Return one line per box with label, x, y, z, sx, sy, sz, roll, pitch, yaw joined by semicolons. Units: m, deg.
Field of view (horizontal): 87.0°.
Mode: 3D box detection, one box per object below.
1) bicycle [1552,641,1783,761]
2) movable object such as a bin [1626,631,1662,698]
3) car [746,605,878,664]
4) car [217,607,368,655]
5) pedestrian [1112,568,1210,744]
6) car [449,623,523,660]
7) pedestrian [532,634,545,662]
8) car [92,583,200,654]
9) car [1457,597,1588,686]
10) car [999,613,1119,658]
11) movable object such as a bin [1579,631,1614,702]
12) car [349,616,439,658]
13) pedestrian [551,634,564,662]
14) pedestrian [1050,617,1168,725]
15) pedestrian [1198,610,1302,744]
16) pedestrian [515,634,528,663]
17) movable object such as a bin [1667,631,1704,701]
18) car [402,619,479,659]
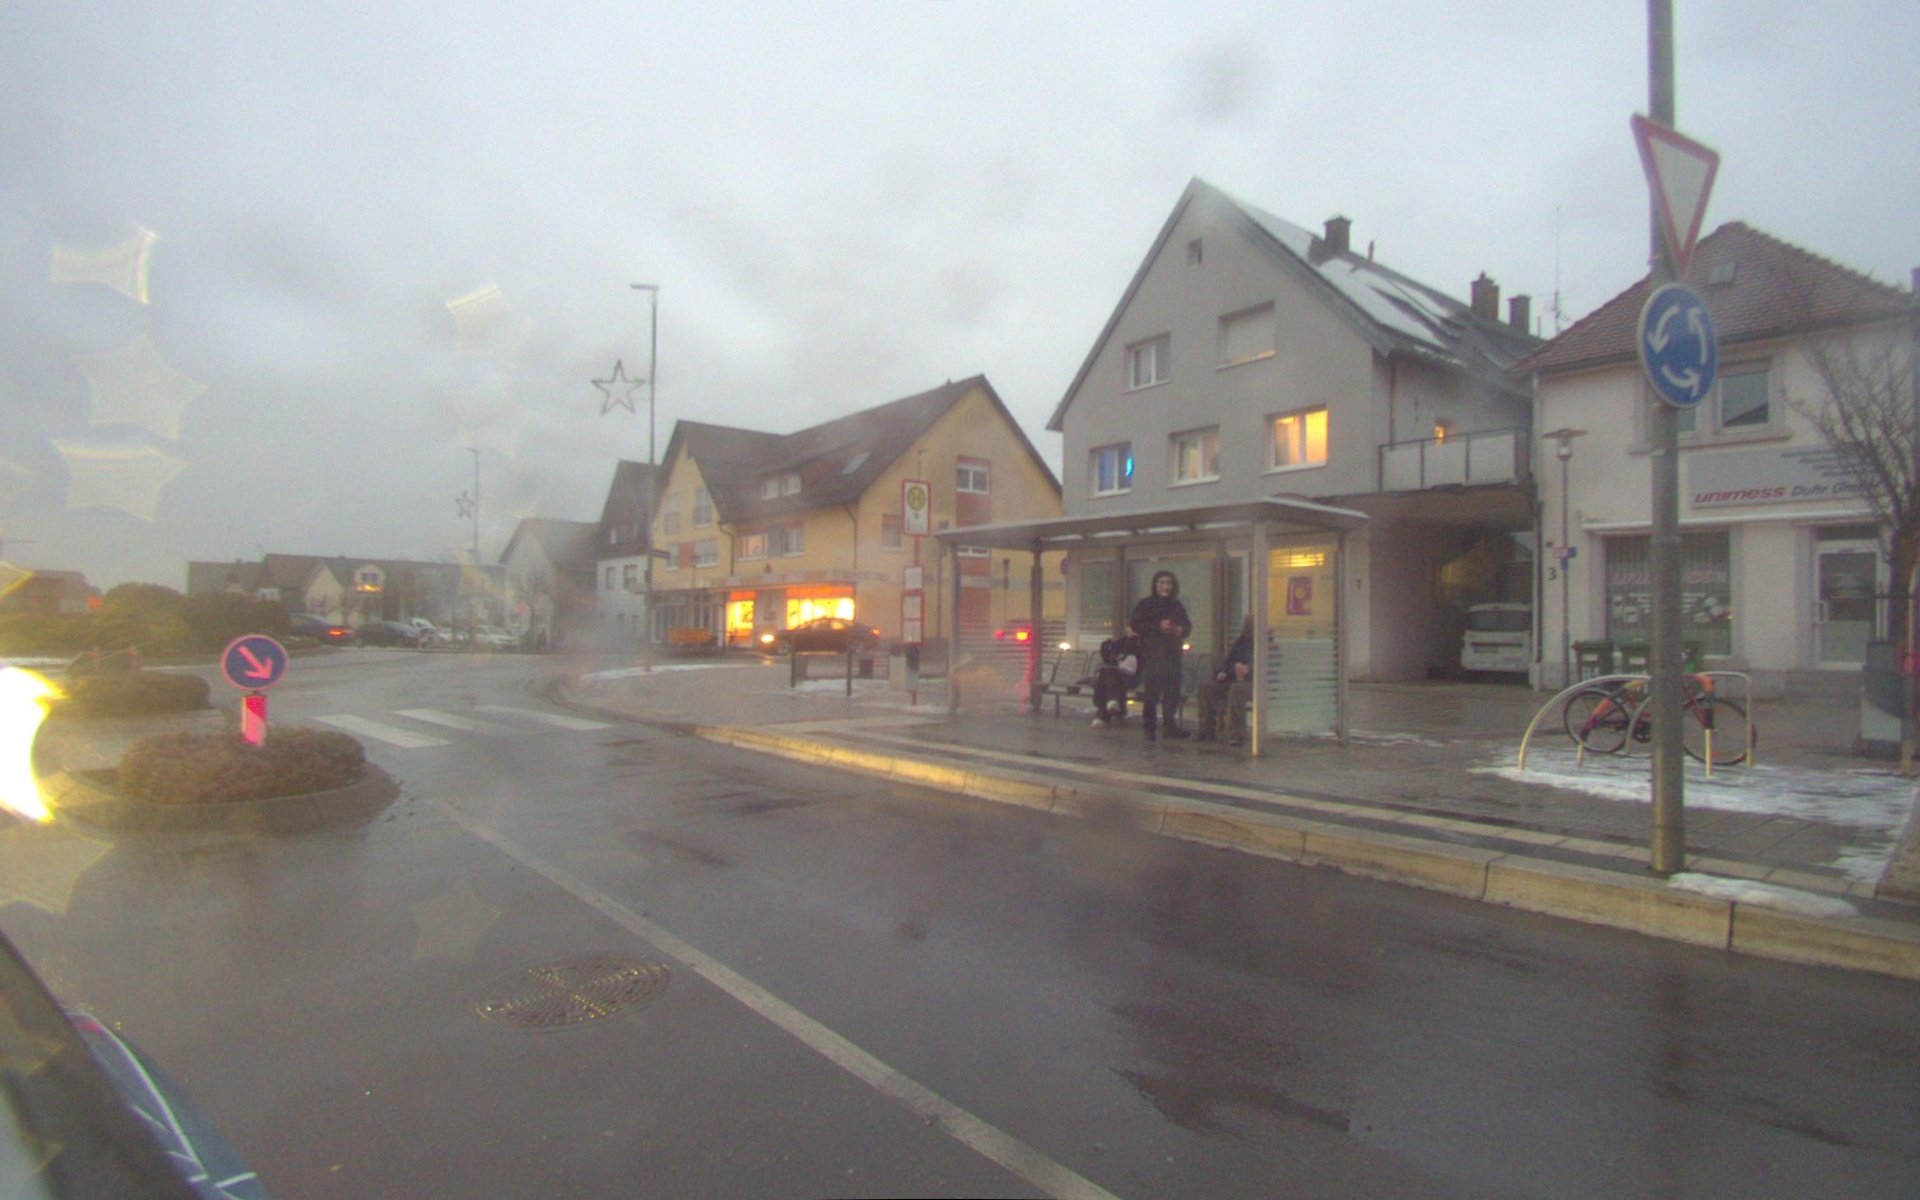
bicycle;6.673;0.913;9.649;0.463;1.018;1.744;1;-2;-32
movable object such as a bin;11.881;1.114;17.572;0.284;1.129;0.454;0;1;-44
car;-5.421;1.208;37.095;4.387;2.029;2.007;0;1;-24
car;-24.214;1.114;36.813;4.314;1.617;1.888;1;1;2
pedestrian;2.108;0.561;10.579;0.687;1.755;0.740;-2;-1;41
car;-27.230;2.378;58.145;3.854;1.895;1.917;1;1;28
pedestrian;-25.268;2.876;60.618;0.574;1.623;0.500;0;1;-44
car;-24.959;0.481;31.198;2.024;2.002;4.551;0;1;-32
car;12.752;0.915;22.883;3.373;1.867;1.516;2;-1;-40
car;3.430;1.209;35.339;3.834;1.514;1.712;0;-1;-12
movable object such as a bin;11.385;1.177;18.098;0.284;1.219;0.454;0;1;-44
car;-29.949;1.924;53.599;3.963;2.010;1.962;1;1;15
pedestrian;-24.351;2.888;61.156;0.574;1.623;0.500;0;1;-44
pedestrian;1.728;0.803;11.741;0.976;1.167;0.903;0;-3;-39
pedestrian;2.937;0.756;10.255;0.677;1.281;0.751;0;-1;-44
pedestrian;-25.973;2.871;59.940;0.574;1.623;0.500;0;1;-44
movable object such as a bin;12.273;1.107;17.119;0.284;1.151;0.454;0;1;-44
car;-28.711;2.122;55.944;3.953;2.029;1.908;1;1;28
